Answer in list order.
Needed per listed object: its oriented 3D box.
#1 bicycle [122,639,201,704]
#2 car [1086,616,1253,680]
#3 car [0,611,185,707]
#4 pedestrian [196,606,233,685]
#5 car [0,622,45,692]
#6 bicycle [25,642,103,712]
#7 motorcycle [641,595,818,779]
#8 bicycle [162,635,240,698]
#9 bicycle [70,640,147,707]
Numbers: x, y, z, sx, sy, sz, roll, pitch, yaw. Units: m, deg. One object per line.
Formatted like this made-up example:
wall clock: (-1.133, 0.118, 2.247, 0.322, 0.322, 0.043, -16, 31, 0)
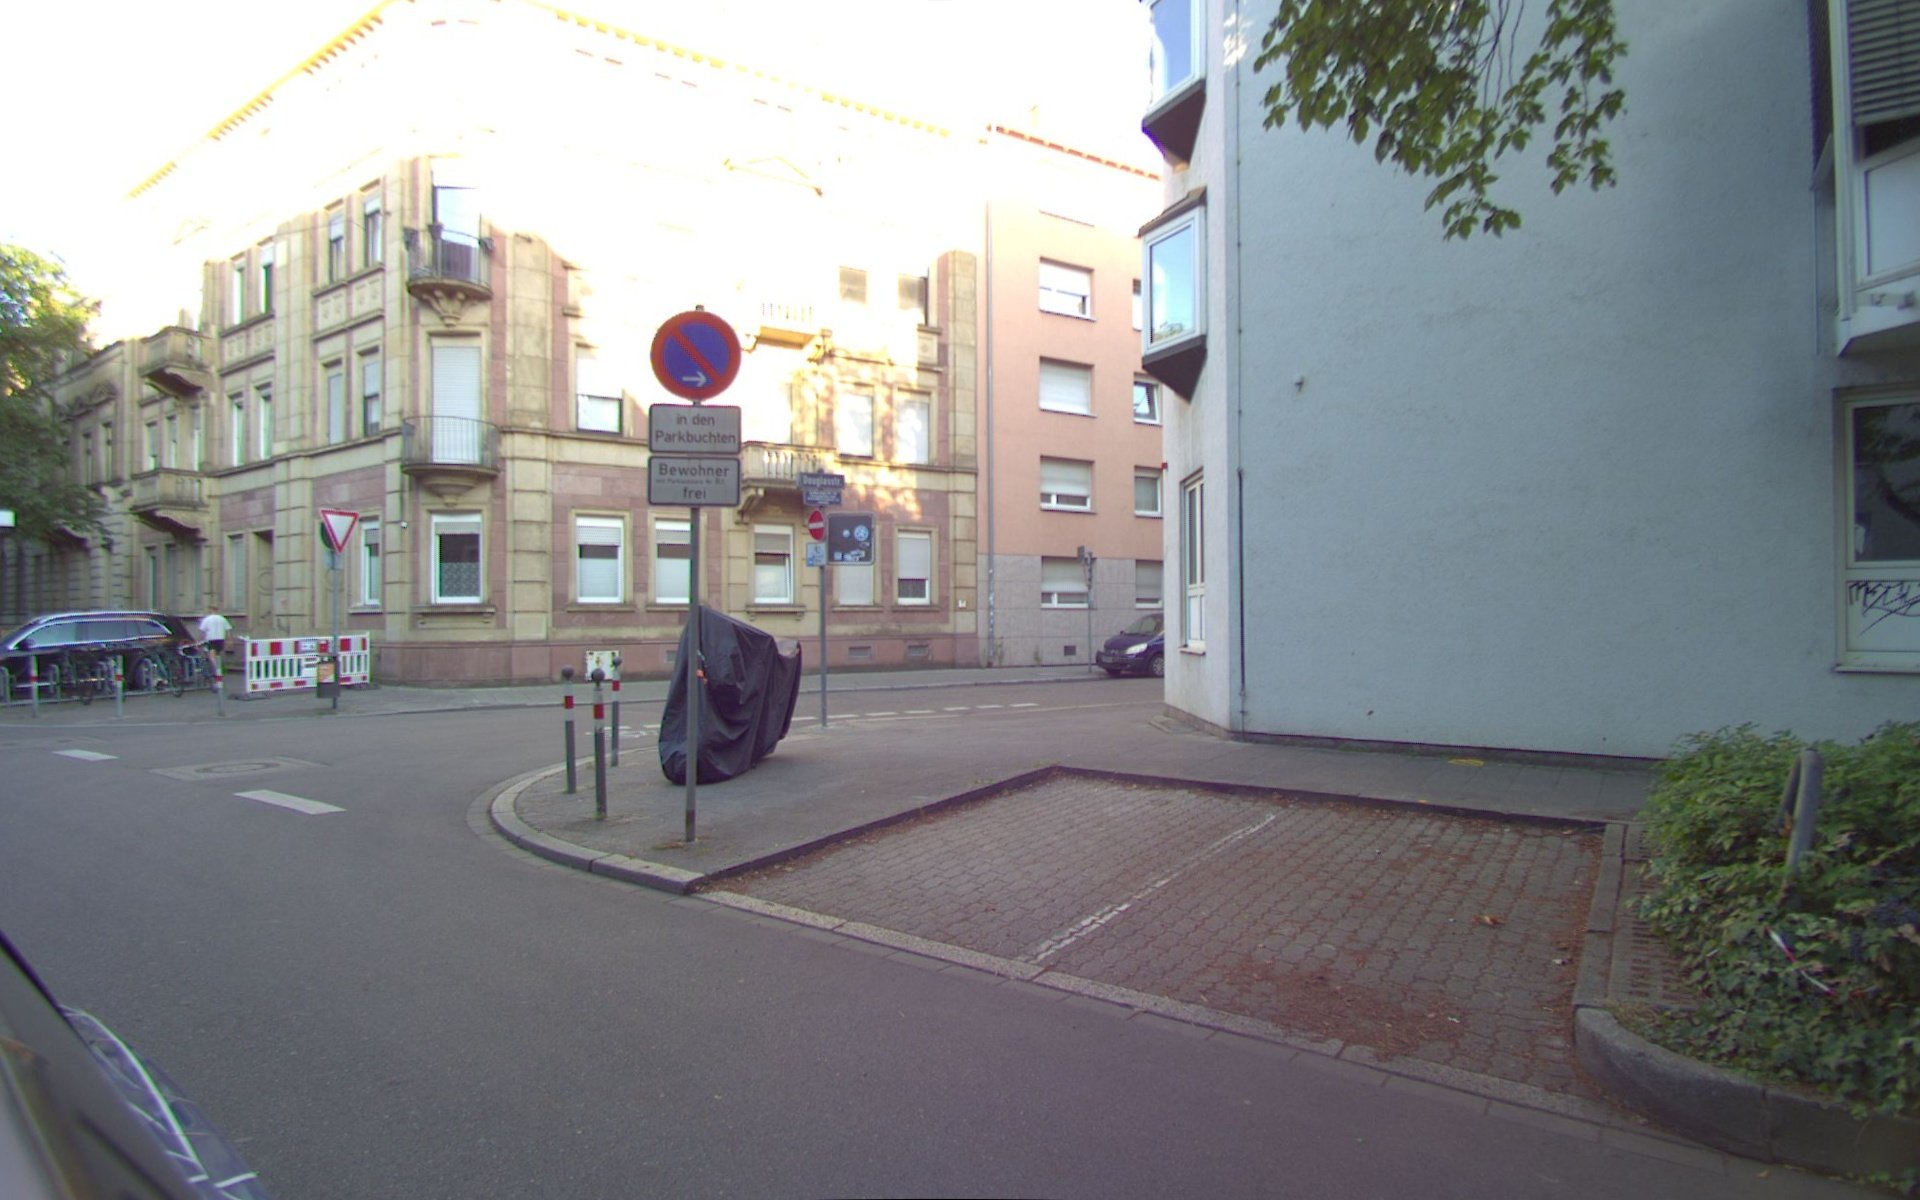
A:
bicycle: (-15.112, 1.319, 19.143, 2.034, 1.159, 0.556, -1, -1, 33)
car: (5.470, 1.188, 26.188, 4.297, 1.529, 1.789, 1, -2, -36)
car: (-18.227, 1.126, 19.959, 1.740, 1.795, 4.369, -1, -2, 38)
pedestrian: (-17.585, 1.068, 23.874, 0.651, 1.821, 0.565, -2, -2, 42)
car: (-24.590, 1.372, 23.912, 1.740, 1.690, 4.190, -1, -2, 40)
bicycle: (-15.943, 1.338, 17.991, 2.035, 1.159, 0.555, -1, -1, 35)
motorcycle: (-2.092, 0.746, 9.585, 0.809, 1.516, 2.275, -1, -1, 10)
bicycle: (-14.754, 1.259, 19.644, 2.034, 1.159, 0.556, -1, -1, 33)
bicycle: (-15.587, 1.315, 18.518, 2.035, 1.159, 0.555, -1, -1, 35)
